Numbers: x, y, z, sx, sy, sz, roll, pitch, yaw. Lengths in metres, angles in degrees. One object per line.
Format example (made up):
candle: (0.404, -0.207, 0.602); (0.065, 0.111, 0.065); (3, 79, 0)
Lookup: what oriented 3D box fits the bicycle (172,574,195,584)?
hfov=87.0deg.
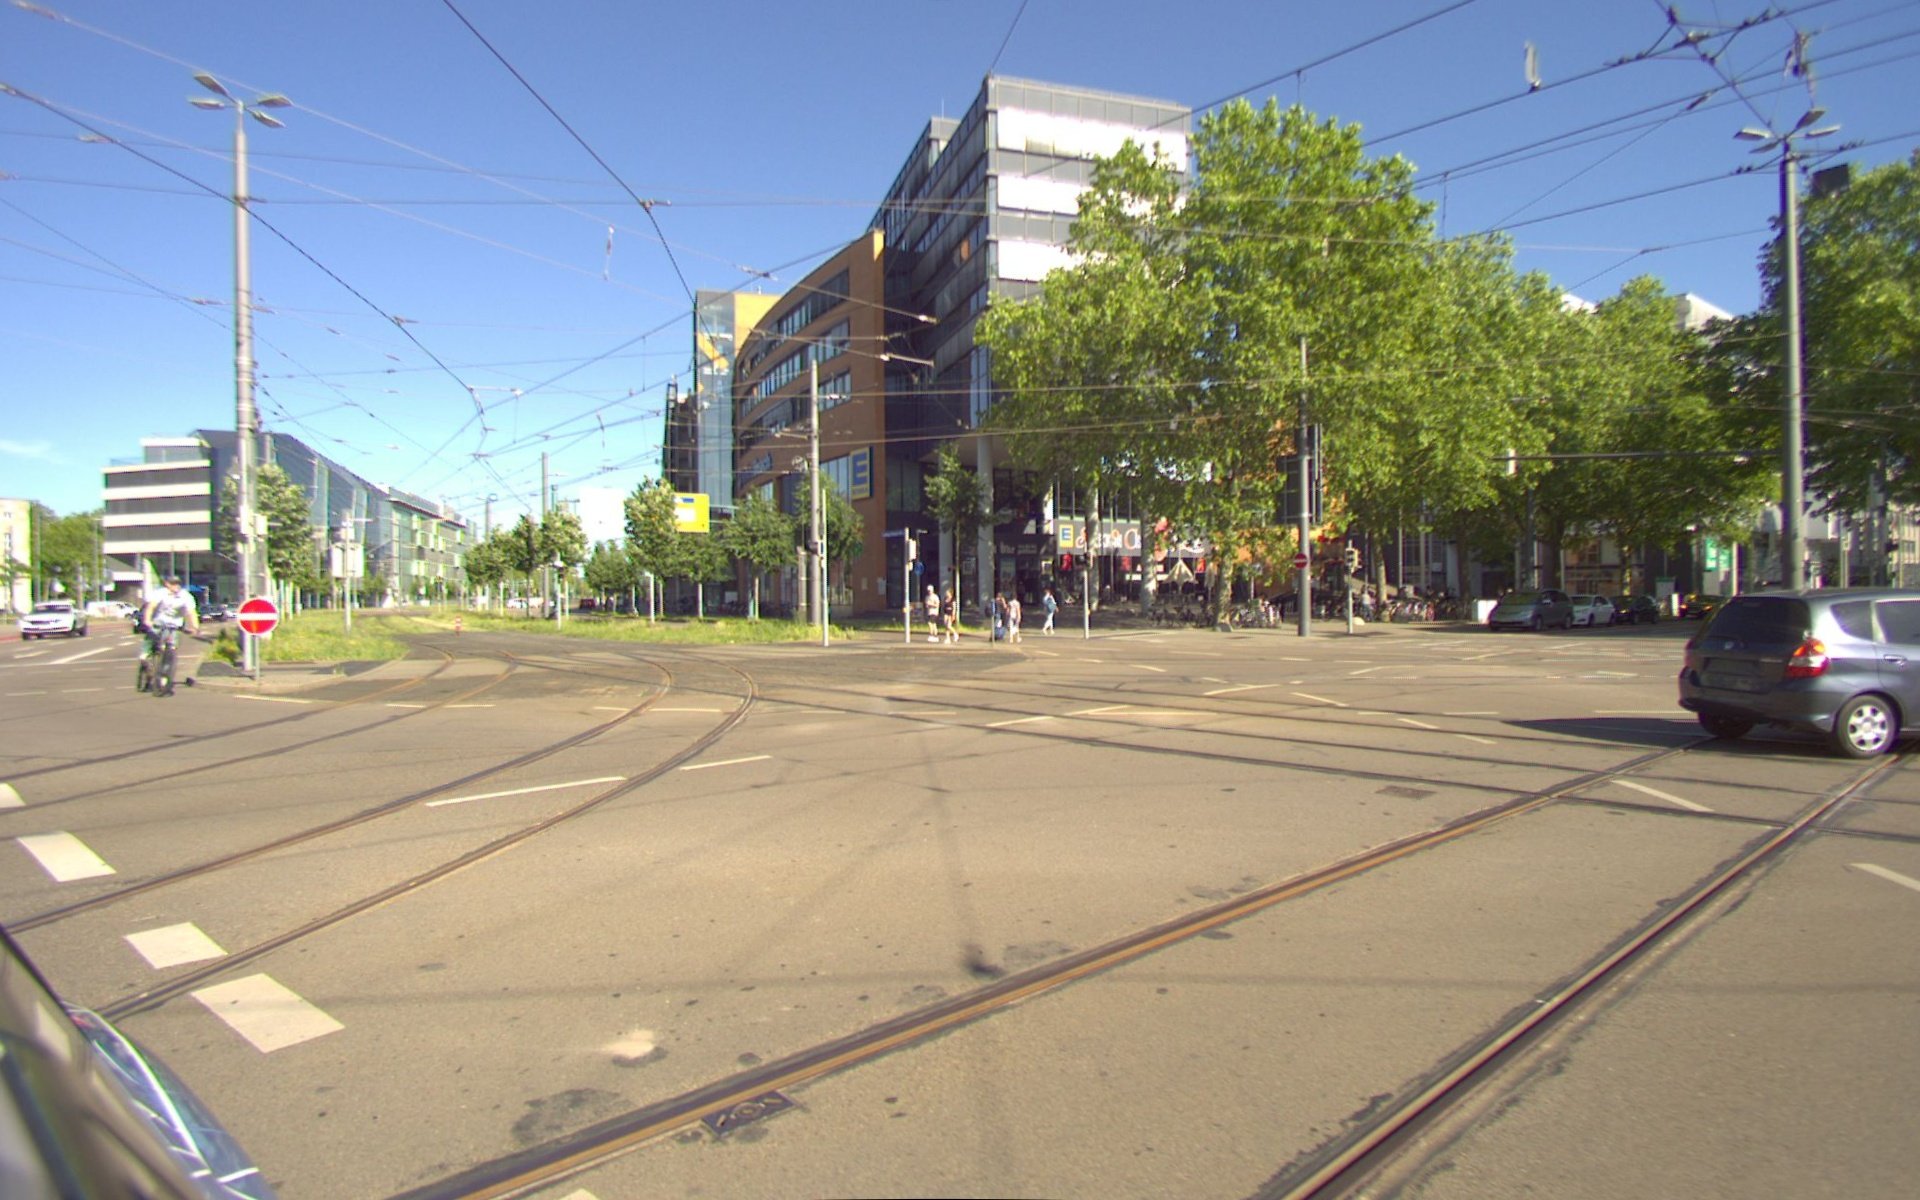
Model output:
bicycle: (-77.654, -2.132, 101.225); (1.678, 0.961, 0.699); (1, -1, -19)

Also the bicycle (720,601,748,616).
bicycle: (-18.395, 0.685, 82.318); (2.142, 1.132, 0.756); (-1, 1, -24)

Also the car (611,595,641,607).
car: (-57.919, 0.198, 175.622); (2.210, 2.029, 5.223); (0, 0, 19)

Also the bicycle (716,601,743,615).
bicycle: (-19.385, 0.696, 85.135); (2.142, 1.132, 0.756); (-1, 1, -24)

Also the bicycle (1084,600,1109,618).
bicycle: (8.528, 0.570, 63.350); (0.486, 1.143, 1.808); (0, 0, -34)

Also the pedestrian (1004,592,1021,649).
pedestrian: (1.723, 0.671, 33.222); (0.461, 1.845, 0.383); (0, 0, 25)

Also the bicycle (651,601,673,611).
bicycle: (-30.730, 0.583, 104.457); (2.142, 0.961, 0.494); (-2, 0, -24)

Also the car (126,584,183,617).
car: (-40.541, 0.008, 50.996); (1.843, 1.568, 4.011); (0, 0, -33)

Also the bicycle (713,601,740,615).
bicycle: (-19.896, 0.703, 86.274); (2.142, 1.132, 0.756); (-1, 1, -24)

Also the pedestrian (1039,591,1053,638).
pedestrian: (3.417, 0.575, 40.033); (0.455, 1.845, 0.459); (0, 0, 18)

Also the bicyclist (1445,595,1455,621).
bicyclist: (32.249, 0.536, 66.605); (0.466, 1.734, 0.478); (0, 0, 43)

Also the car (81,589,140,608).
car: (-91.949, -0.206, 109.571); (4.574, 1.997, 1.881); (0, 0, -21)

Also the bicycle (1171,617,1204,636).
bicycle: (10.040, 1.160, 44.592); (2.000, 0.805, 0.376); (0, 0, -43)

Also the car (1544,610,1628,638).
car: (27.869, 1.029, 45.027); (3.933, 1.152, 1.786); (0, 0, -35)

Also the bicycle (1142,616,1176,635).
bicycle: (8.903, 1.147, 45.276); (2.000, 0.805, 0.376); (0, 0, -43)

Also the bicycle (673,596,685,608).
bicycle: (-22.751, 0.145, 82.036); (0.348, 0.933, 1.900); (0, 1, -34)

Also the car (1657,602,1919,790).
car: (8.927, 0.814, 9.454); (3.625, 1.576, 1.732); (0, 0, -1)

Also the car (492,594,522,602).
car: (-65.199, -0.331, 145.744); (3.930, 1.098, 2.007); (0, 0, -22)

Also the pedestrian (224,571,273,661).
pedestrian: (-14.300, 0.305, 20.338); (0.769, 1.766, 0.662); (0, 0, 44)

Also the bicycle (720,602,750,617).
bicycle: (-17.913, 0.714, 80.551); (2.142, 1.132, 0.756); (-1, 1, -24)

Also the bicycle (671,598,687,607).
bicycle: (-27.592, 0.212, 99.232); (1.426, 0.825, 0.447); (-1, 0, -24)

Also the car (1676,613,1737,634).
car: (44.977, 1.423, 60.956); (3.933, 1.152, 1.786); (0, 0, -35)

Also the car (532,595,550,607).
car: (-47.481, 0.082, 114.712); (1.408, 1.370, 3.305); (0, 0, -31)

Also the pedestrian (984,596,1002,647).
pedestrian: (1.222, 0.784, 37.465); (0.494, 1.845, 0.579); (0, 0, 18)

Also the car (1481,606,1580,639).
car: (23.255, 0.897, 41.242); (3.933, 1.240, 2.005); (0, 0, -35)

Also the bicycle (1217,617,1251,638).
bicycle: (11.561, 1.159, 42.706); (2.000, 0.805, 0.376); (0, 0, -43)

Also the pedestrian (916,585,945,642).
pedestrian: (-0.963, 0.430, 33.063); (0.750, 1.845, 0.626); (0, 0, -28)

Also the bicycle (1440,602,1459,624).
bicycle: (32.232, 0.839, 66.594); (0.466, 1.363, 2.339); (0, 0, 42)

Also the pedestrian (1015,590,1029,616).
pedestrian: (4.039, 0.193, 65.668); (0.499, 1.636, 0.790); (0, 1, -34)

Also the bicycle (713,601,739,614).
bicycle: (-20.780, 0.665, 89.817); (2.142, 1.132, 0.756); (-1, 1, -24)

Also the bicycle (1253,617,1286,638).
bicycle: (12.924, 1.147, 42.186); (2.000, 0.805, 0.376); (0, 0, -43)

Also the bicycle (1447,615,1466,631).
bicycle: (25.556, 1.189, 52.041); (0.445, 0.788, 1.473); (0, 0, 44)

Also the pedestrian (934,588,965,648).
pedestrian: (-0.331, 0.548, 31.734); (0.750, 1.845, 0.627); (0, 0, -25)

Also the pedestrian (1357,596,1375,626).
pedestrian: (19.482, 0.520, 48.540); (0.638, 1.463, 0.502); (0, 0, -7)

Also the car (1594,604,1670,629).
car: (33.048, 0.770, 49.758); (3.933, 1.152, 1.786); (0, 0, -35)

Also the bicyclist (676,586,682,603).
bicyclist: (-22.750, -0.458, 82.019); (0.336, 1.387, 0.483); (0, 1, -35)

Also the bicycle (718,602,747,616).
bicycle: (-18.698, 0.722, 83.193); (2.142, 1.132, 0.756); (-1, 1, -24)

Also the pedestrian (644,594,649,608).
pedestrian: (-35.421, 0.143, 114.250); (0.483, 1.530, 0.651); (0, 0, -14)

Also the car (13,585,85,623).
car: (-41.734, 0.164, 46.449); (1.843, 1.642, 4.350); (0, 1, -34)

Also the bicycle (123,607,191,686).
bicycle: (-12.295, 0.665, 15.554); (0.677, 1.077, 2.703); (-2, 1, -36)

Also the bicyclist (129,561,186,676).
bicyclist: (-12.262, 0.265, 15.483); (0.610, 1.682, 1.022); (-2, 1, -37)
